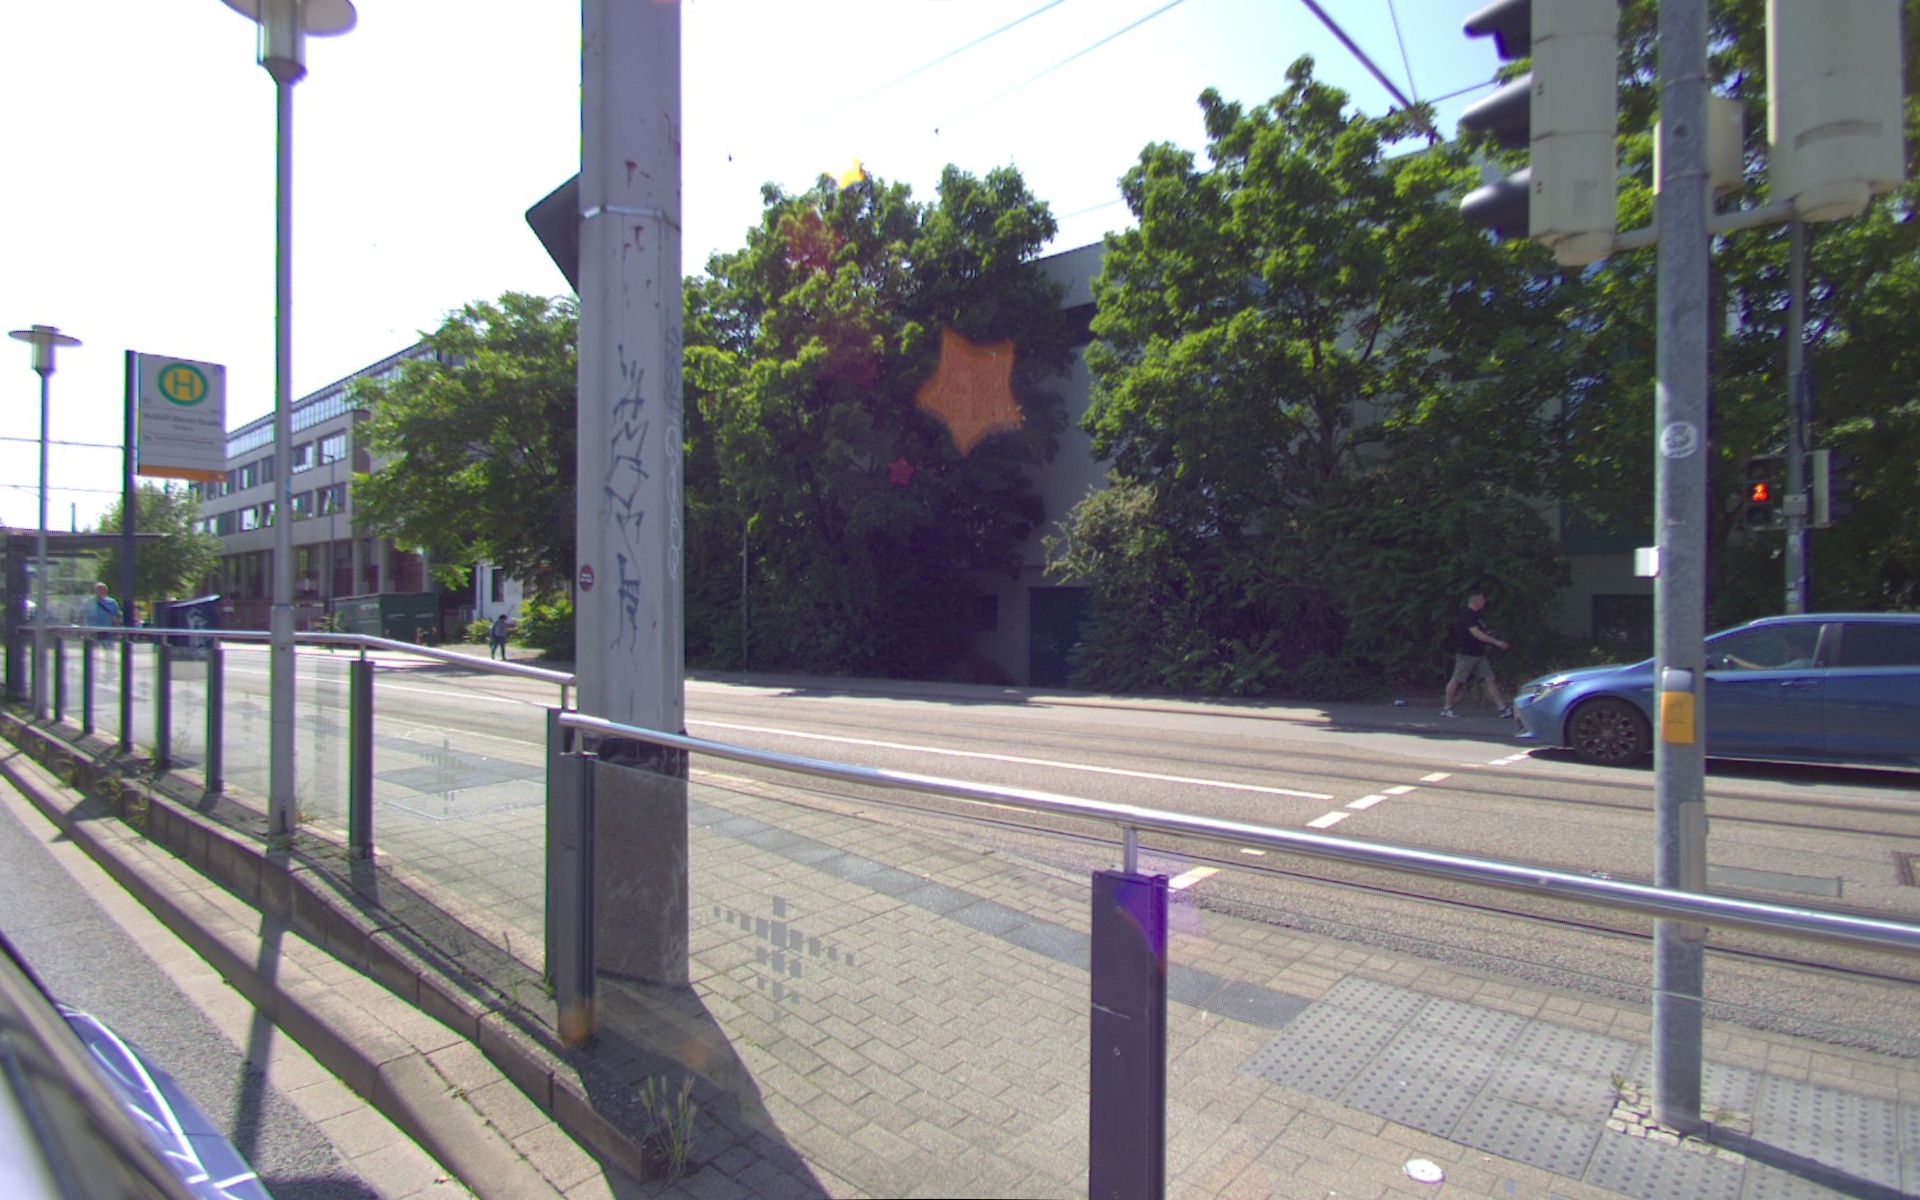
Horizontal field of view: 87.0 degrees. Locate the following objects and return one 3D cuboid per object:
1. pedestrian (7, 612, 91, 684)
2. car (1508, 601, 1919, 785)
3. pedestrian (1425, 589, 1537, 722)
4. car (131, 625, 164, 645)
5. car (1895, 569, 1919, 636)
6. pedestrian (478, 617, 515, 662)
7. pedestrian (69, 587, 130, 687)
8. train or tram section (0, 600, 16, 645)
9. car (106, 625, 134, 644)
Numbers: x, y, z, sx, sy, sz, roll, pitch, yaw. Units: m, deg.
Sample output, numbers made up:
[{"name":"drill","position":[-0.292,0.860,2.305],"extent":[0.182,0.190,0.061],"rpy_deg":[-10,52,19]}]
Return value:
[{"name":"pedestrian","position":[-14.689,0.753,16.326],"extent":[0.726,1.107,0.933],"rpy_deg":[-2,-1,41]},{"name":"car","position":[7.719,0.790,9.151],"extent":[4.591,1.453,1.887],"rpy_deg":[-1,-4,40]},{"name":"pedestrian","position":[6.937,0.716,13.485],"extent":[1.159,1.683,0.876],"rpy_deg":[-1,-2,41]},{"name":"car","position":[-68.721,2.979,85.600],"extent":[1.969,1.635,4.006],"rpy_deg":[2,-3,-41]},{"name":"car","position":[23.039,0.023,21.837],"extent":[3.835,1.478,1.616],"rpy_deg":[-1,-1,19]},{"name":"pedestrian","position":[-15.867,1.342,34.637],"extent":[0.845,1.538,0.861],"rpy_deg":[-2,-2,41]},{"name":"pedestrian","position":[-15.467,0.656,18.189],"extent":[0.944,1.738,0.716],"rpy_deg":[-2,-2,42]},{"name":"train or tram section","position":[-80.274,1.874,83.209],"extent":[12.322,3.511,2.645],"rpy_deg":[-1,-2,42]},{"name":"car","position":[-74.782,3.037,90.083],"extent":[1.843,1.630,4.006],"rpy_deg":[2,-3,-41]}]
